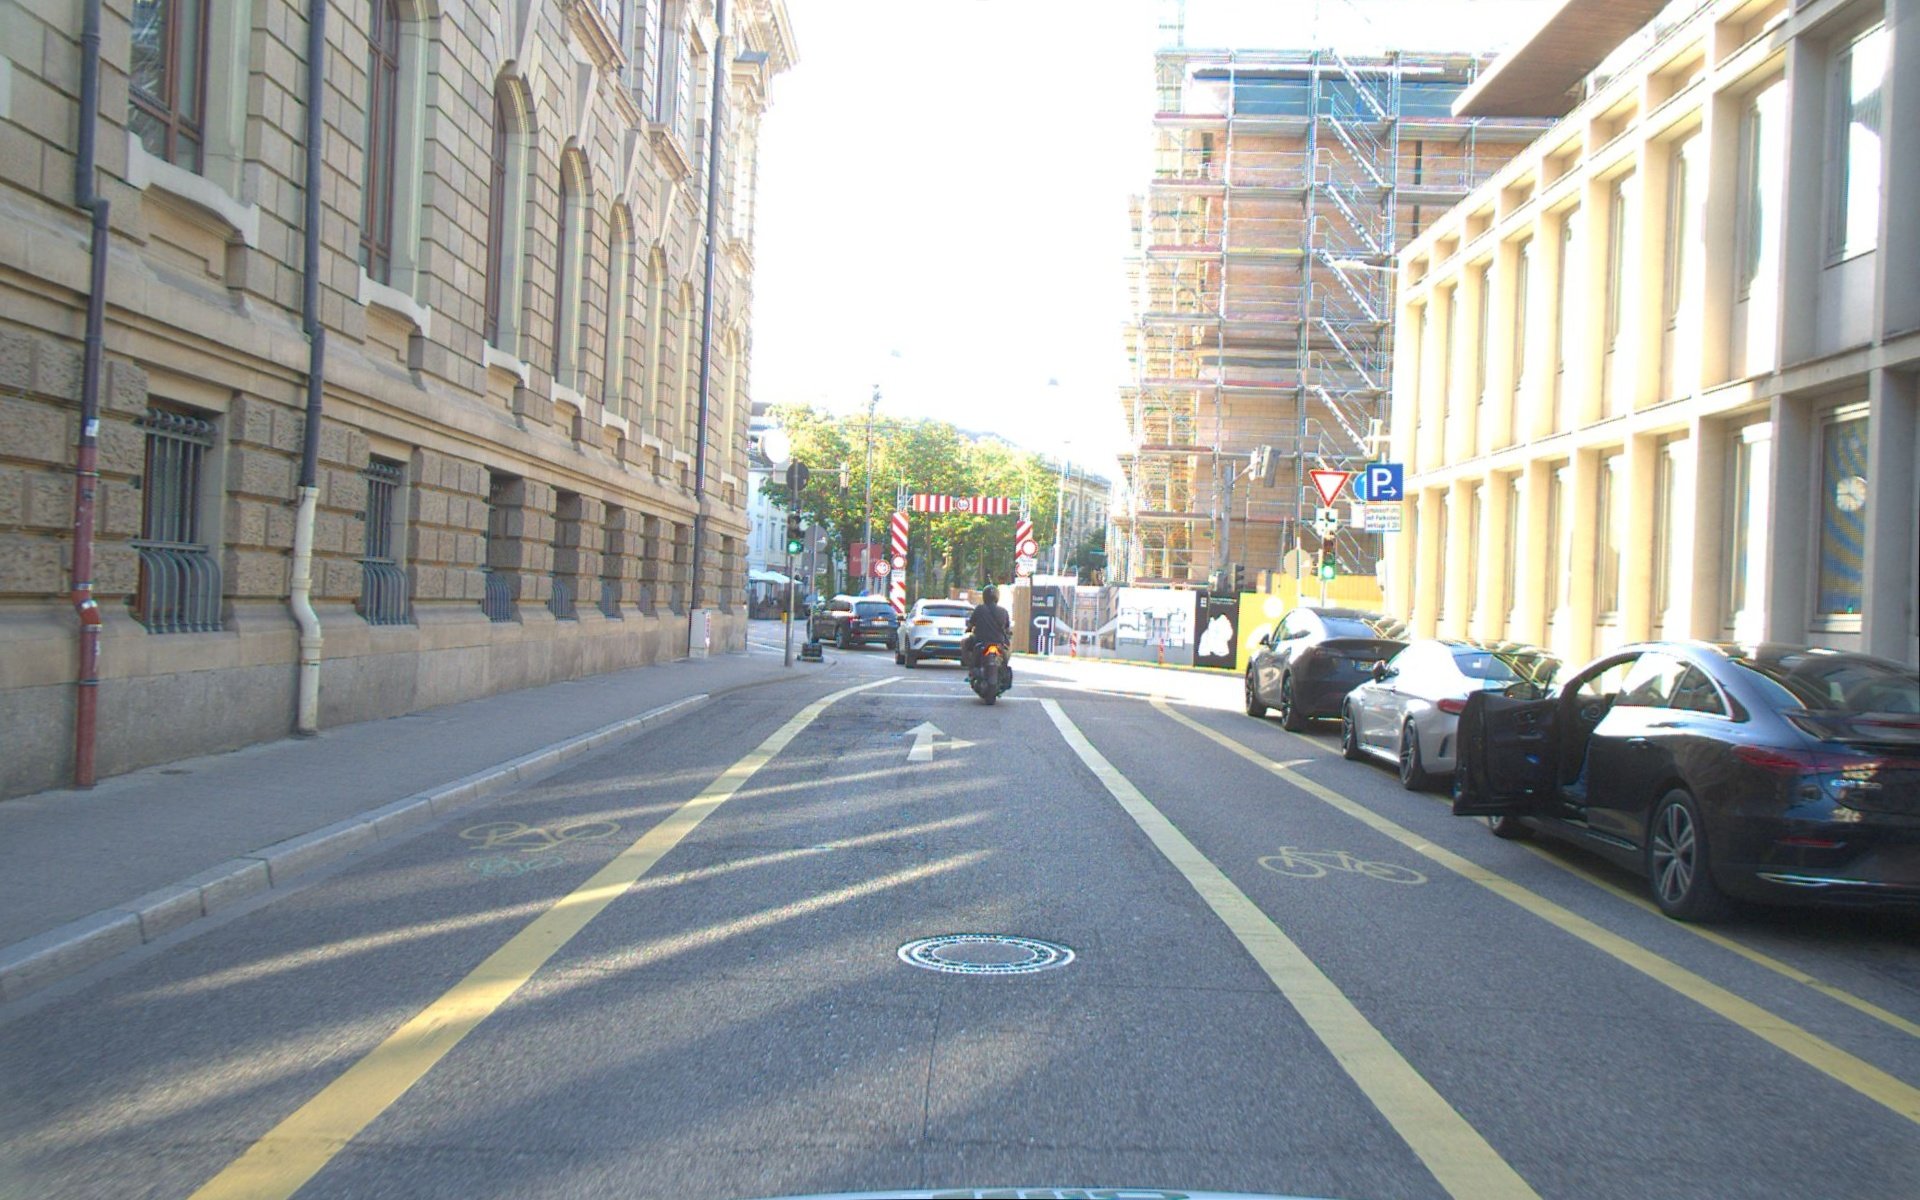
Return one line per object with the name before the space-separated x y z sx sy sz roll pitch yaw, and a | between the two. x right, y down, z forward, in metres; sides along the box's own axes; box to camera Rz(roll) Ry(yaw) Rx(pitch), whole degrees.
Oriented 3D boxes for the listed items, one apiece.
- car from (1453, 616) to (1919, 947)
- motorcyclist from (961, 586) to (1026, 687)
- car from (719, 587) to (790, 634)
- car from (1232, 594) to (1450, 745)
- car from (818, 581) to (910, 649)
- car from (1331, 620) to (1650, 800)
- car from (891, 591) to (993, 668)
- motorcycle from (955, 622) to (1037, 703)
car | 4.742 0.921 10.275 1.788 1.527 4.735 4 -1 -1
motorcyclist | 0.493 0.536 24.444 0.851 1.452 0.454 2 -1 -10
car | -8.189 0.381 65.705 1.963 1.693 4.335 -1 2 -19
car | 5.136 0.856 22.936 1.788 1.728 4.666 3 1 -1
car | -2.880 0.438 48.746 1.801 1.870 3.981 2 -1 -17
car | 5.039 0.975 16.388 1.787 1.423 4.480 3 -1 2
car | -0.475 0.638 37.615 1.788 1.568 4.257 3 0 -7
motorcycle | 0.506 0.901 24.355 0.856 1.129 1.835 2 -1 -10
